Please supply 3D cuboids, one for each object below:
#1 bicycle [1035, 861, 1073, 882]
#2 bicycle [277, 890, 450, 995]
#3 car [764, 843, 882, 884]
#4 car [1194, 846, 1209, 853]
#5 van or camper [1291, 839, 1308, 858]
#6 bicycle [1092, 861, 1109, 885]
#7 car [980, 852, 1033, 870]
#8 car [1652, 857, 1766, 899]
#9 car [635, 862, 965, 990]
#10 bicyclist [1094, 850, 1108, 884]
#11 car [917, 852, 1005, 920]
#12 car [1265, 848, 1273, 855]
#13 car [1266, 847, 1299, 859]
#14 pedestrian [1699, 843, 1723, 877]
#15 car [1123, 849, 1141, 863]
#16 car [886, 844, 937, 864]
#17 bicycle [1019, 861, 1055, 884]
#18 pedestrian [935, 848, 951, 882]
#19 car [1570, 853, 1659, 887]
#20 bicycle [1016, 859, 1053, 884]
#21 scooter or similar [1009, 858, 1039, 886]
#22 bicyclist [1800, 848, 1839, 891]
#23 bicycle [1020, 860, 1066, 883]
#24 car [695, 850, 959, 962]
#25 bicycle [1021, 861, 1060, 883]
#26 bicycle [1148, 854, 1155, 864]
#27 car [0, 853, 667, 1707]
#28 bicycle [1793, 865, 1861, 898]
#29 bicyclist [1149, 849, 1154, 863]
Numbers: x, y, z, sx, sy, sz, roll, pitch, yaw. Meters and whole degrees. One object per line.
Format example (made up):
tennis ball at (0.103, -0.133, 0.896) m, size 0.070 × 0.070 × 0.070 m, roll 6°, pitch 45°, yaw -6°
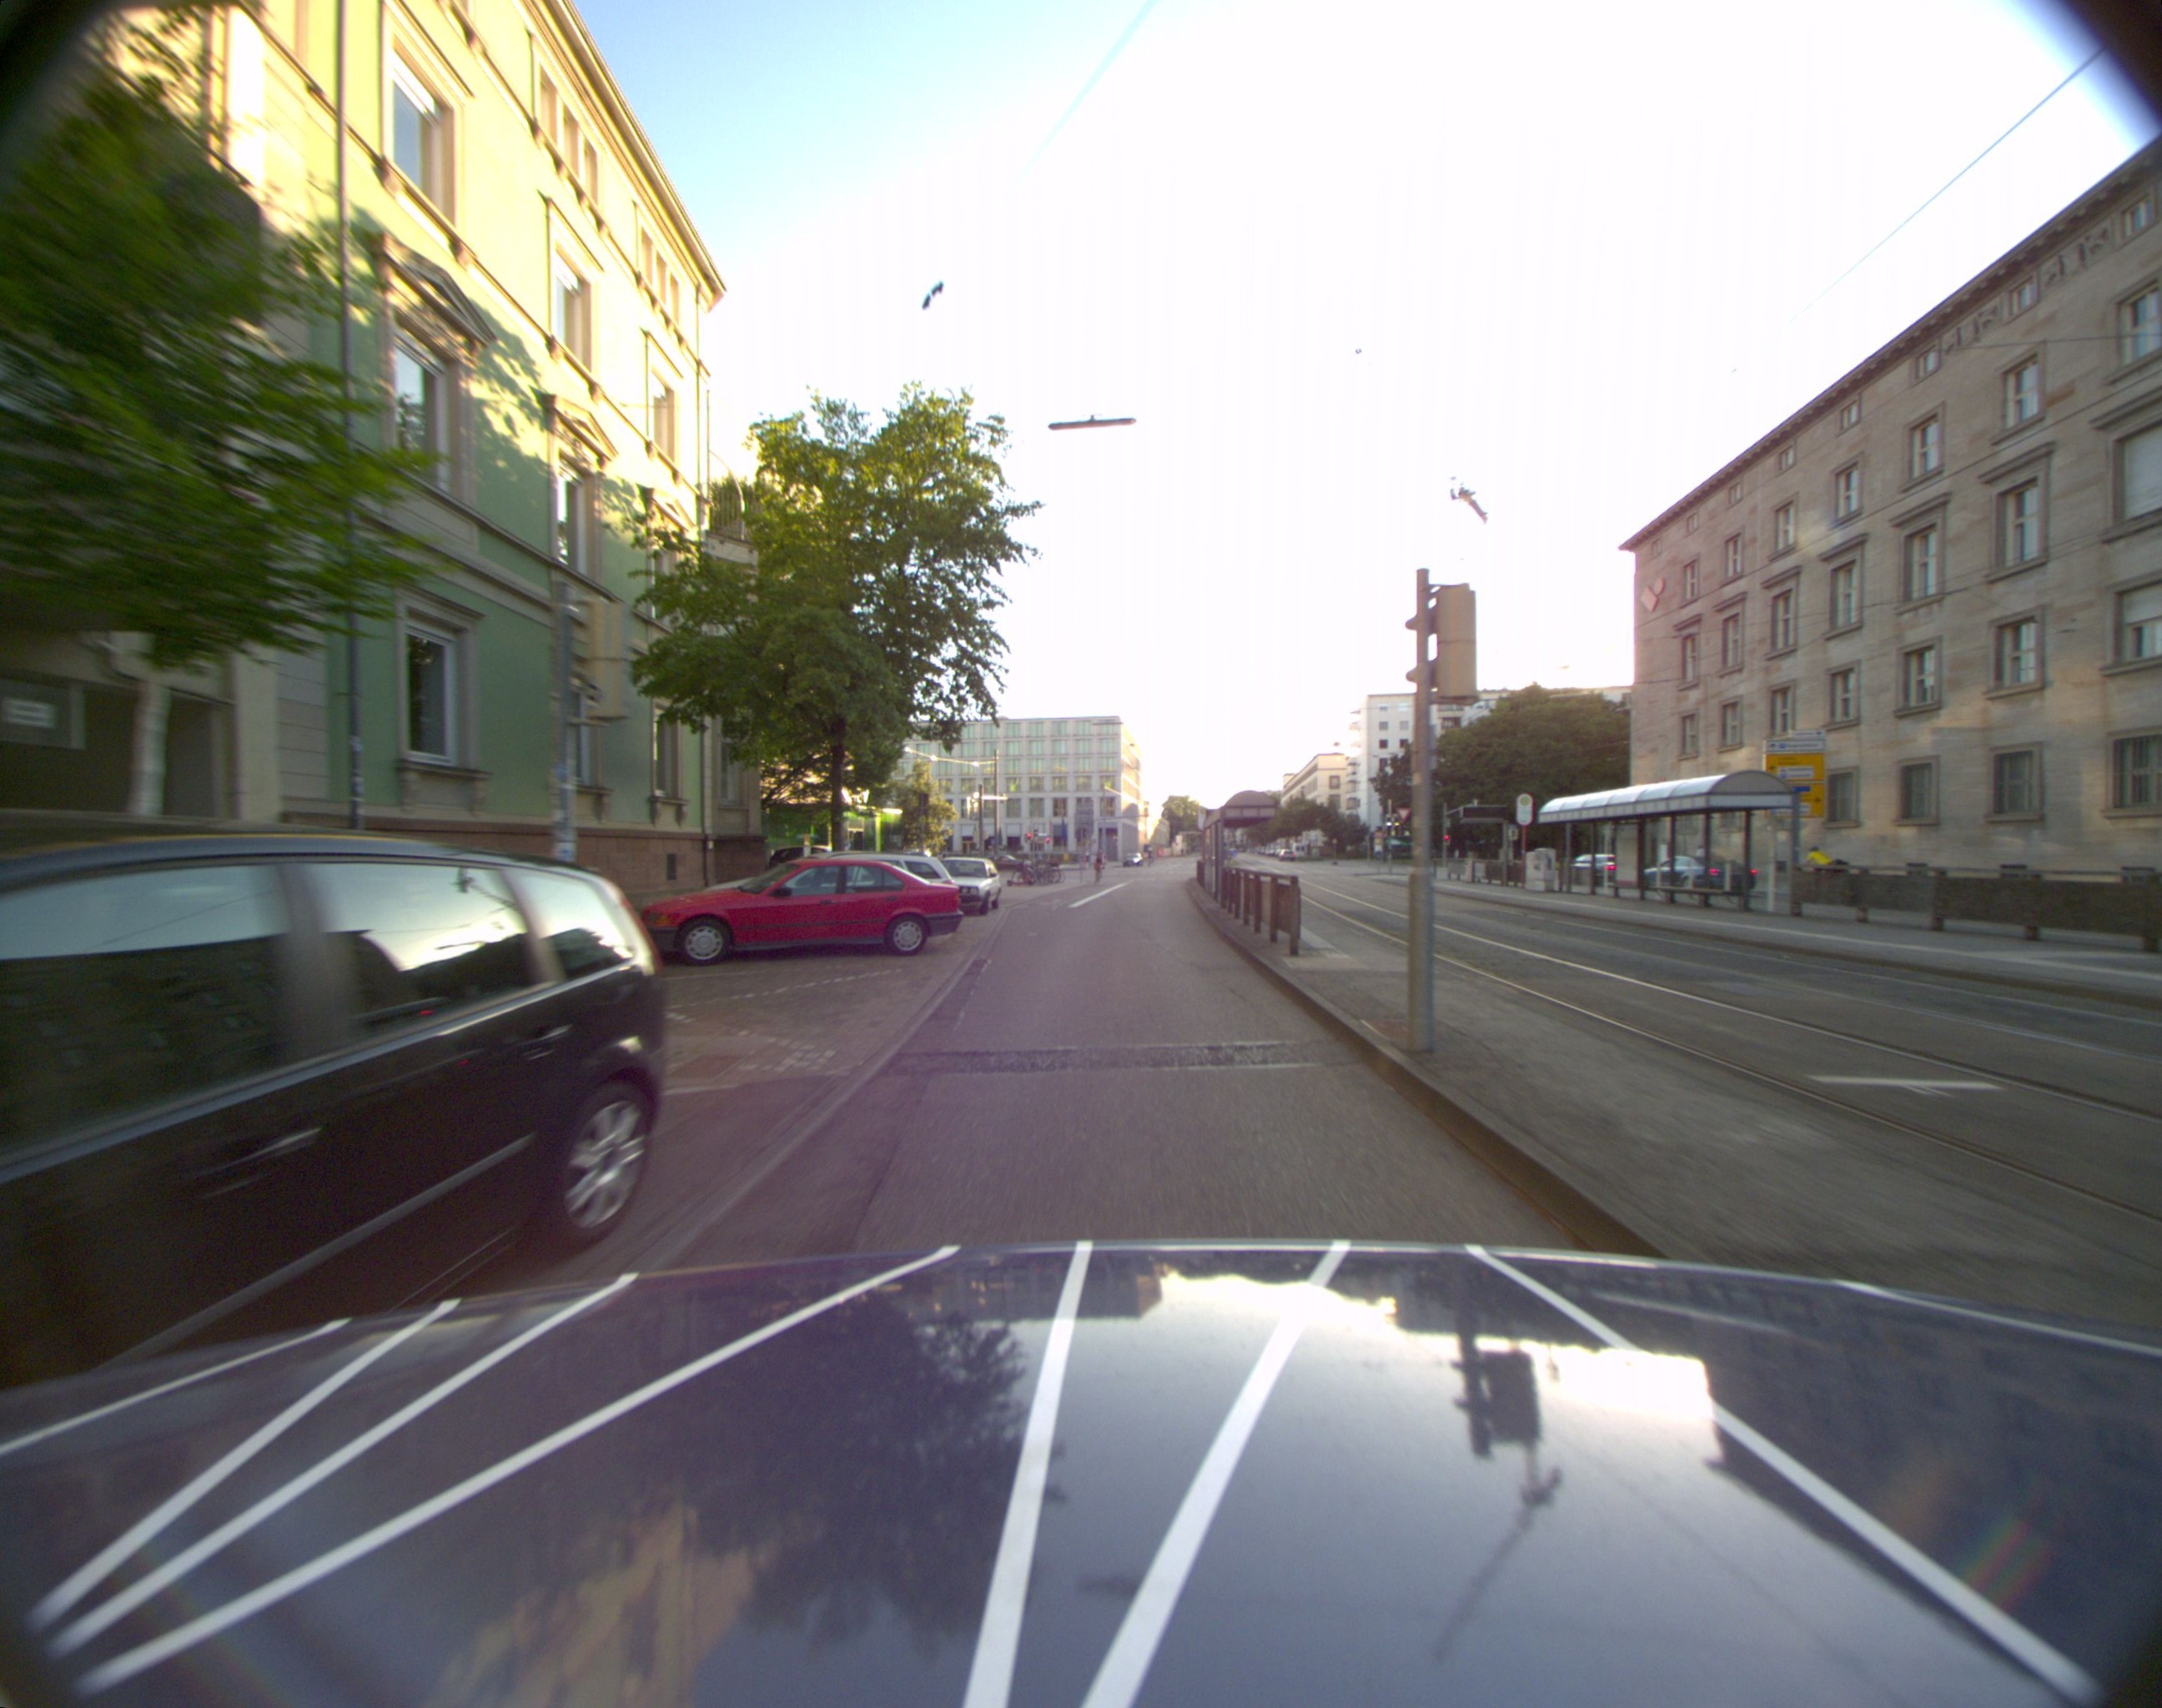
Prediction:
bicycle at (-1.401, 0.905, 39.559) m, size 1.861 × 1.068 × 0.745 m, roll 0°, pitch 1°, yaw 28°
bicycle at (-8.586, 1.016, 9.185) m, size 0.652 × 1.068 × 1.555 m, roll -1°, pitch 1°, yaw -4°
car at (-10.096, 0.375, 29.826) m, size 3.991 × 1.564 × 1.805 m, roll 0°, pitch 0°, yaw 10°
car at (30.008, -1.128, 189.419) m, size 3.803 × 1.639 × 1.865 m, roll 0°, pitch 1°, yaw 10°
van or camper at (33.531, -0.814, 116.673) m, size 2.108 × 2.665 × 4.716 m, roll -1°, pitch -2°, yaw 12°
bicycle at (0.983, 0.925, 37.222) m, size 0.609 × 1.108 × 2.087 m, roll 0°, pitch 0°, yaw 8°
car at (-6.313, 0.591, 64.466) m, size 4.166 × 1.412 × 1.700 m, roll 0°, pitch 1°, yaw 12°
car at (23.162, 0.832, 28.202) m, size 1.645 × 1.419 × 3.708 m, roll 0°, pitch 0°, yaw 10°
car at (-3.978, 0.894, 11.025) m, size 4.217 × 1.445 × 1.641 m, roll -1°, pitch 1°, yaw -32°
bicyclist at (0.956, 0.634, 37.048) m, size 0.609 × 1.626 × 0.597 m, roll 0°, pitch 1°, yaw 7°
car at (-3.068, 0.761, 20.172) m, size 1.684 × 1.544 × 3.999 m, roll 3°, pitch 0°, yaw -1°
car at (44.692, -0.601, 180.884) m, size 1.720 × 1.422 × 3.813 m, roll 0°, pitch 0°, yaw 13°
car at (27.461, -0.138, 103.756) m, size 1.890 × 1.654 × 4.335 m, roll -1°, pitch 1°, yaw -30°
pedestrian at (31.190, 0.300, 37.637) m, size 0.696 × 1.700 × 0.646 m, roll 0°, pitch 1°, yaw 13°
car at (5.995, 0.174, 88.503) m, size 1.815 × 1.514 × 4.812 m, roll -2°, pitch 0°, yaw 6°
car at (-16.426, -0.017, 73.706) m, size 4.458 × 1.900 × 1.807 m, roll 0°, pitch 1°, yaw 9°
bicycle at (-2.060, 0.877, 36.061) m, size 1.553 × 1.068 × 0.745 m, roll 0°, pitch 1°, yaw 12°
pedestrian at (-7.307, 0.587, 40.347) m, size 0.708 × 1.757 × 0.989 m, roll -1°, pitch 1°, yaw -5°
car at (24.138, 0.699, 34.567) m, size 1.645 × 1.419 × 4.235 m, roll 0°, pitch 0°, yaw 10°
bicycle at (-2.144, 0.810, 35.004) m, size 1.528 × 1.156 × 0.745 m, roll 0°, pitch 1°, yaw 12°
scooter or similar at (-2.555, 0.807, 33.948) m, size 1.202 × 1.218 × 0.591 m, roll 1°, pitch 1°, yaw 10°
bicyclist at (24.910, 0.510, 25.639) m, size 0.757 × 1.432 × 0.597 m, roll 0°, pitch 1°, yaw 10°
bicycle at (-1.936, 0.882, 38.631) m, size 2.234 × 1.125 × 0.745 m, roll 1°, pitch 1°, yaw 12°
car at (-4.513, 0.810, 13.716) m, size 4.217 × 1.715 × 1.717 m, roll -1°, pitch 1°, yaw -32°
bicycle at (-2.017, 0.878, 37.841) m, size 1.758 × 1.068 × 0.745 m, roll 0°, pitch 1°, yaw 12°
bicycle at (7.931, 0.578, 85.228) m, size 0.539 × 1.045 × 1.762 m, roll 0°, pitch 0°, yaw 11°
car at (-2.716, 0.850, 1.328) m, size 1.748 × 1.622 × 4.087 m, roll 2°, pitch 1°, yaw 0°
bicycle at (24.847, 0.902, 25.350) m, size 0.743 × 1.011 × 1.762 m, roll 0°, pitch 0°, yaw 10°
bicyclist at (7.933, 0.234, 85.301) m, size 0.540 × 1.626 × 0.597 m, roll 0°, pitch 1°, yaw 10°
